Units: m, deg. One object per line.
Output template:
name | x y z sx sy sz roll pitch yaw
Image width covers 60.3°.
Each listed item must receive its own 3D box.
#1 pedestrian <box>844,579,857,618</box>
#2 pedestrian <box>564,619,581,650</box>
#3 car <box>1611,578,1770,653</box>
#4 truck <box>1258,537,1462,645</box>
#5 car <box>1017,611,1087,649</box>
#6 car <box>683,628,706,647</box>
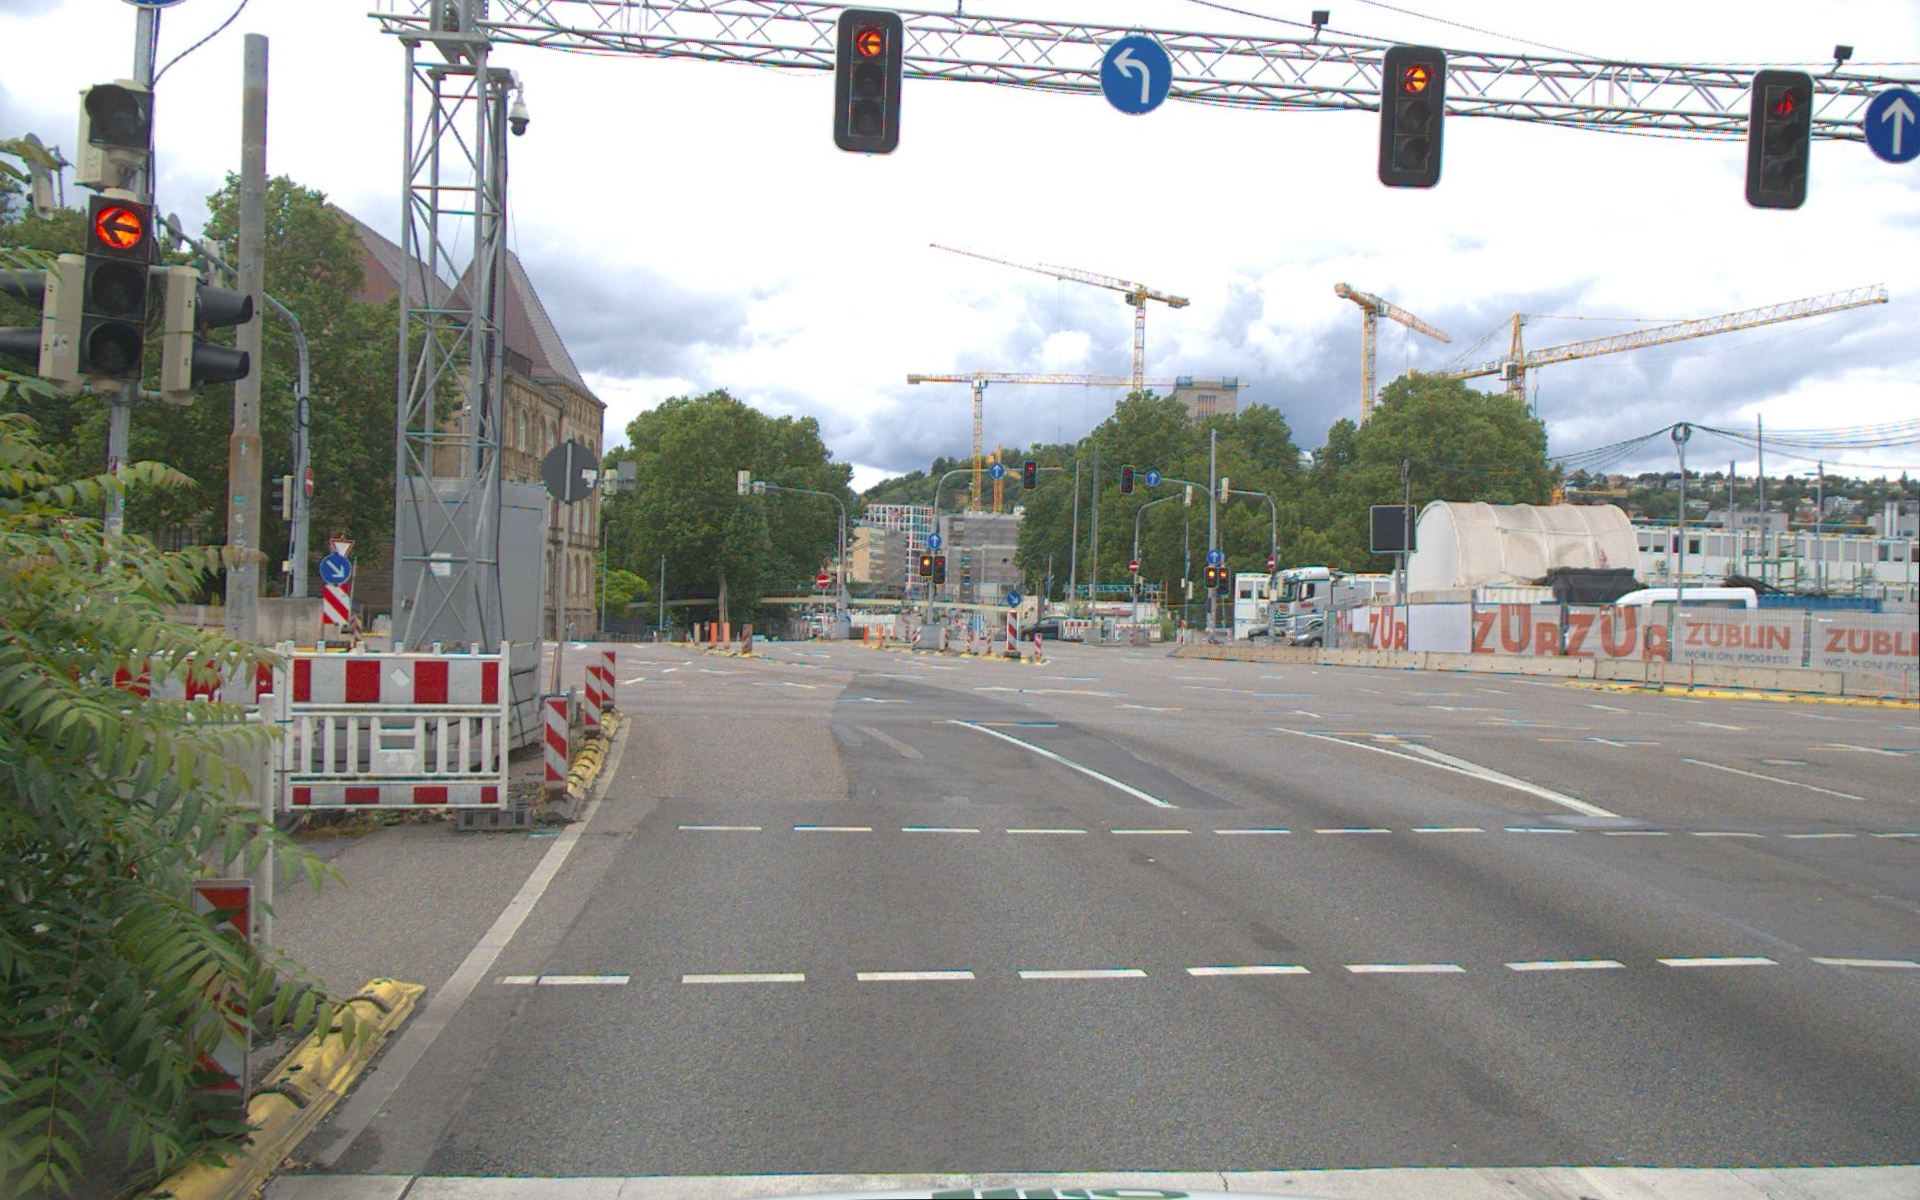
pedestrian | -5.347 -0.057 80.698 0.574 1.872 0.604 1 -1 -4
pedestrian | -26.225 2.335 111.887 0.930 2.049 0.766 1 -1 1
car | 21.057 0.444 47.820 3.902 2.049 2.001 1 0 15
truck | 19.656 -0.376 81.291 9.565 5.047 3.097 1 0 -19
car | 5.252 1.705 94.978 1.978 2.049 3.949 1 0 -36
car | -27.444 3.854 171.173 1.954 1.870 3.997 1 0 -3
